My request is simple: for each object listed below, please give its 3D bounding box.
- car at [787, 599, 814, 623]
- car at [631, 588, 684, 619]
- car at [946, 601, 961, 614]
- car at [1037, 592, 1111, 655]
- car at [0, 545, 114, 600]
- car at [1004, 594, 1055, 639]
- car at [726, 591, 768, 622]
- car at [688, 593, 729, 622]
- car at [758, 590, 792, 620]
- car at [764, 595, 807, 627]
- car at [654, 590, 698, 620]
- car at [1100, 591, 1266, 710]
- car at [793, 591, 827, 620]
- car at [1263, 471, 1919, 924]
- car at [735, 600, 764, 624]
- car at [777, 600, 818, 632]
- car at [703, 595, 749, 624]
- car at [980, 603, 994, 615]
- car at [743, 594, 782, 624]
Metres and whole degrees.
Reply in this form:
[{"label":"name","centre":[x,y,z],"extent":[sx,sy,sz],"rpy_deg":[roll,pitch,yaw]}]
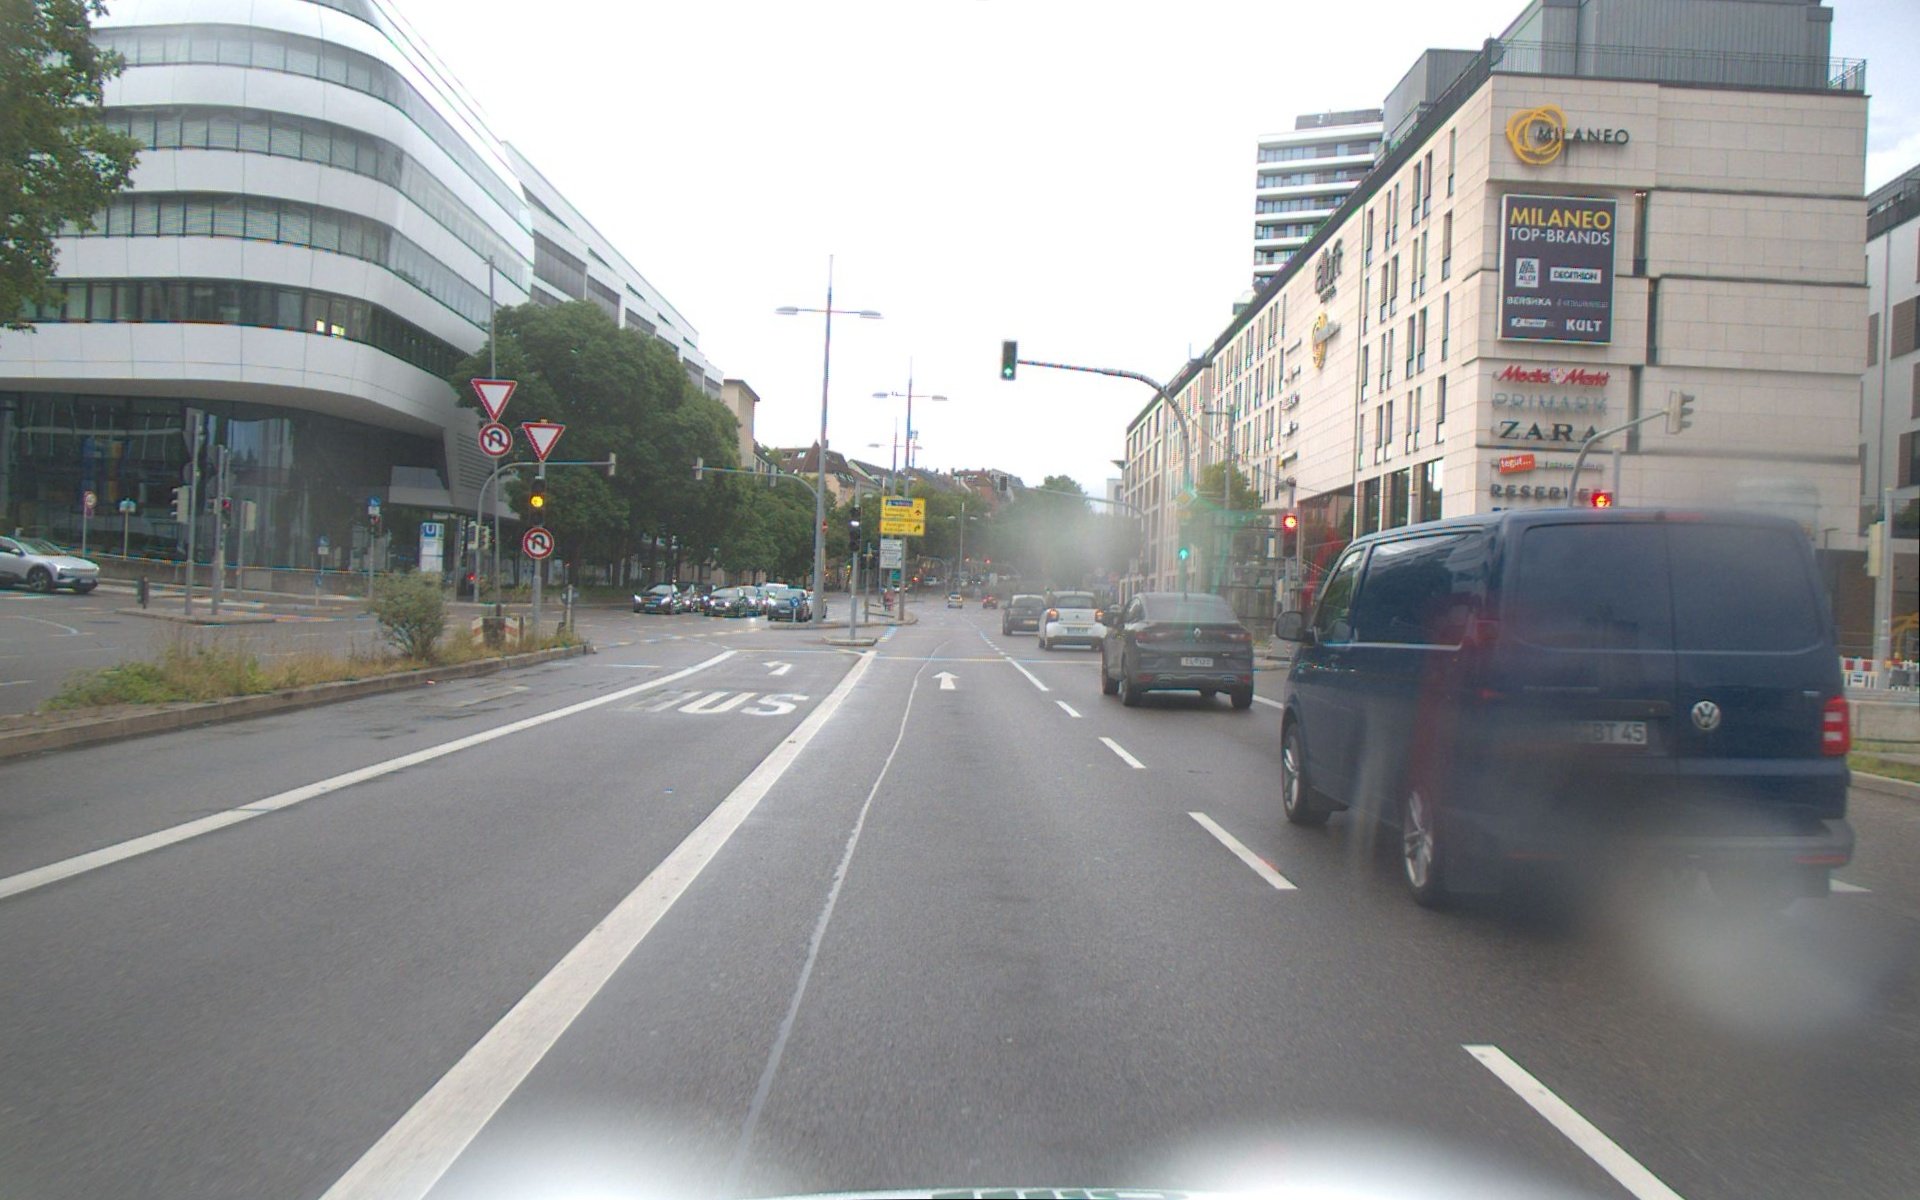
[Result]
[{"label":"car","centre":[-12.315,0.860,128.132],"extent":[1.707,1.779,3.539],"rpy_deg":[1,-1,0]},{"label":"car","centre":[-14.370,0.196,78.733],"extent":[1.707,1.352,4.225],"rpy_deg":[1,-1,0]},{"label":"car","centre":[-0.841,0.979,206.305],"extent":[1.705,1.558,3.812],"rpy_deg":[1,0,-2]},{"label":"car","centre":[3.028,0.640,44.474],"extent":[1.689,1.558,3.813],"rpy_deg":[1,-1,0]},{"label":"car","centre":[-29.520,-0.880,52.679],"extent":[4.406,1.660,1.896],"rpy_deg":[1,-1,16]},{"label":"car","centre":[2.539,0.635,61.057],"extent":[1.704,1.558,3.813],"rpy_deg":[1,-1,0]},{"label":"car","centre":[-11.278,0.370,87.746],"extent":[1.707,1.586,3.539],"rpy_deg":[1,-1,0]},{"label":"car","centre":[-14.147,0.437,93.190],"extent":[1.707,1.586,3.539],"rpy_deg":[1,-1,0]},{"label":"car","centre":[-11.389,0.315,101.979],"extent":[1.707,1.779,3.539],"rpy_deg":[1,-1,0]},{"label":"car","centre":[-8.343,0.556,79.273],"extent":[1.707,1.470,3.394],"rpy_deg":[1,-1,0]},{"label":"car","centre":[-14.962,0.275,87.237],"extent":[1.707,1.448,3.539],"rpy_deg":[1,-1,0]},{"label":"car","centre":[3.137,0.657,24.053],"extent":[1.754,1.533,4.338],"rpy_deg":[1,0,-1]},{"label":"car","centre":[-8.332,0.322,92.087],"extent":[1.507,1.503,3.695],"rpy_deg":[1,-1,0]},{"label":"car","centre":[3.236,0.398,9.673],"extent":[1.991,1.915,5.042],"rpy_deg":[-1,0,0]},{"label":"car","centre":[-16.136,0.914,126.816],"extent":[1.707,1.779,3.539],"rpy_deg":[1,-1,0]},{"label":"car","centre":[-8.259,0.829,84.399],"extent":[1.667,1.586,4.244],"rpy_deg":[1,-1,0]},{"label":"car","centre":[-11.384,0.439,80.490],"extent":[1.708,1.279,3.539],"rpy_deg":[2,0,0]},{"label":"car","centre":[3.571,1.170,218.520],"extent":[1.704,1.558,3.813],"rpy_deg":[1,-1,0]},{"label":"car","centre":[-11.024,0.538,92.360],"extent":[1.707,1.586,3.539],"rpy_deg":[1,-1,0]}]
